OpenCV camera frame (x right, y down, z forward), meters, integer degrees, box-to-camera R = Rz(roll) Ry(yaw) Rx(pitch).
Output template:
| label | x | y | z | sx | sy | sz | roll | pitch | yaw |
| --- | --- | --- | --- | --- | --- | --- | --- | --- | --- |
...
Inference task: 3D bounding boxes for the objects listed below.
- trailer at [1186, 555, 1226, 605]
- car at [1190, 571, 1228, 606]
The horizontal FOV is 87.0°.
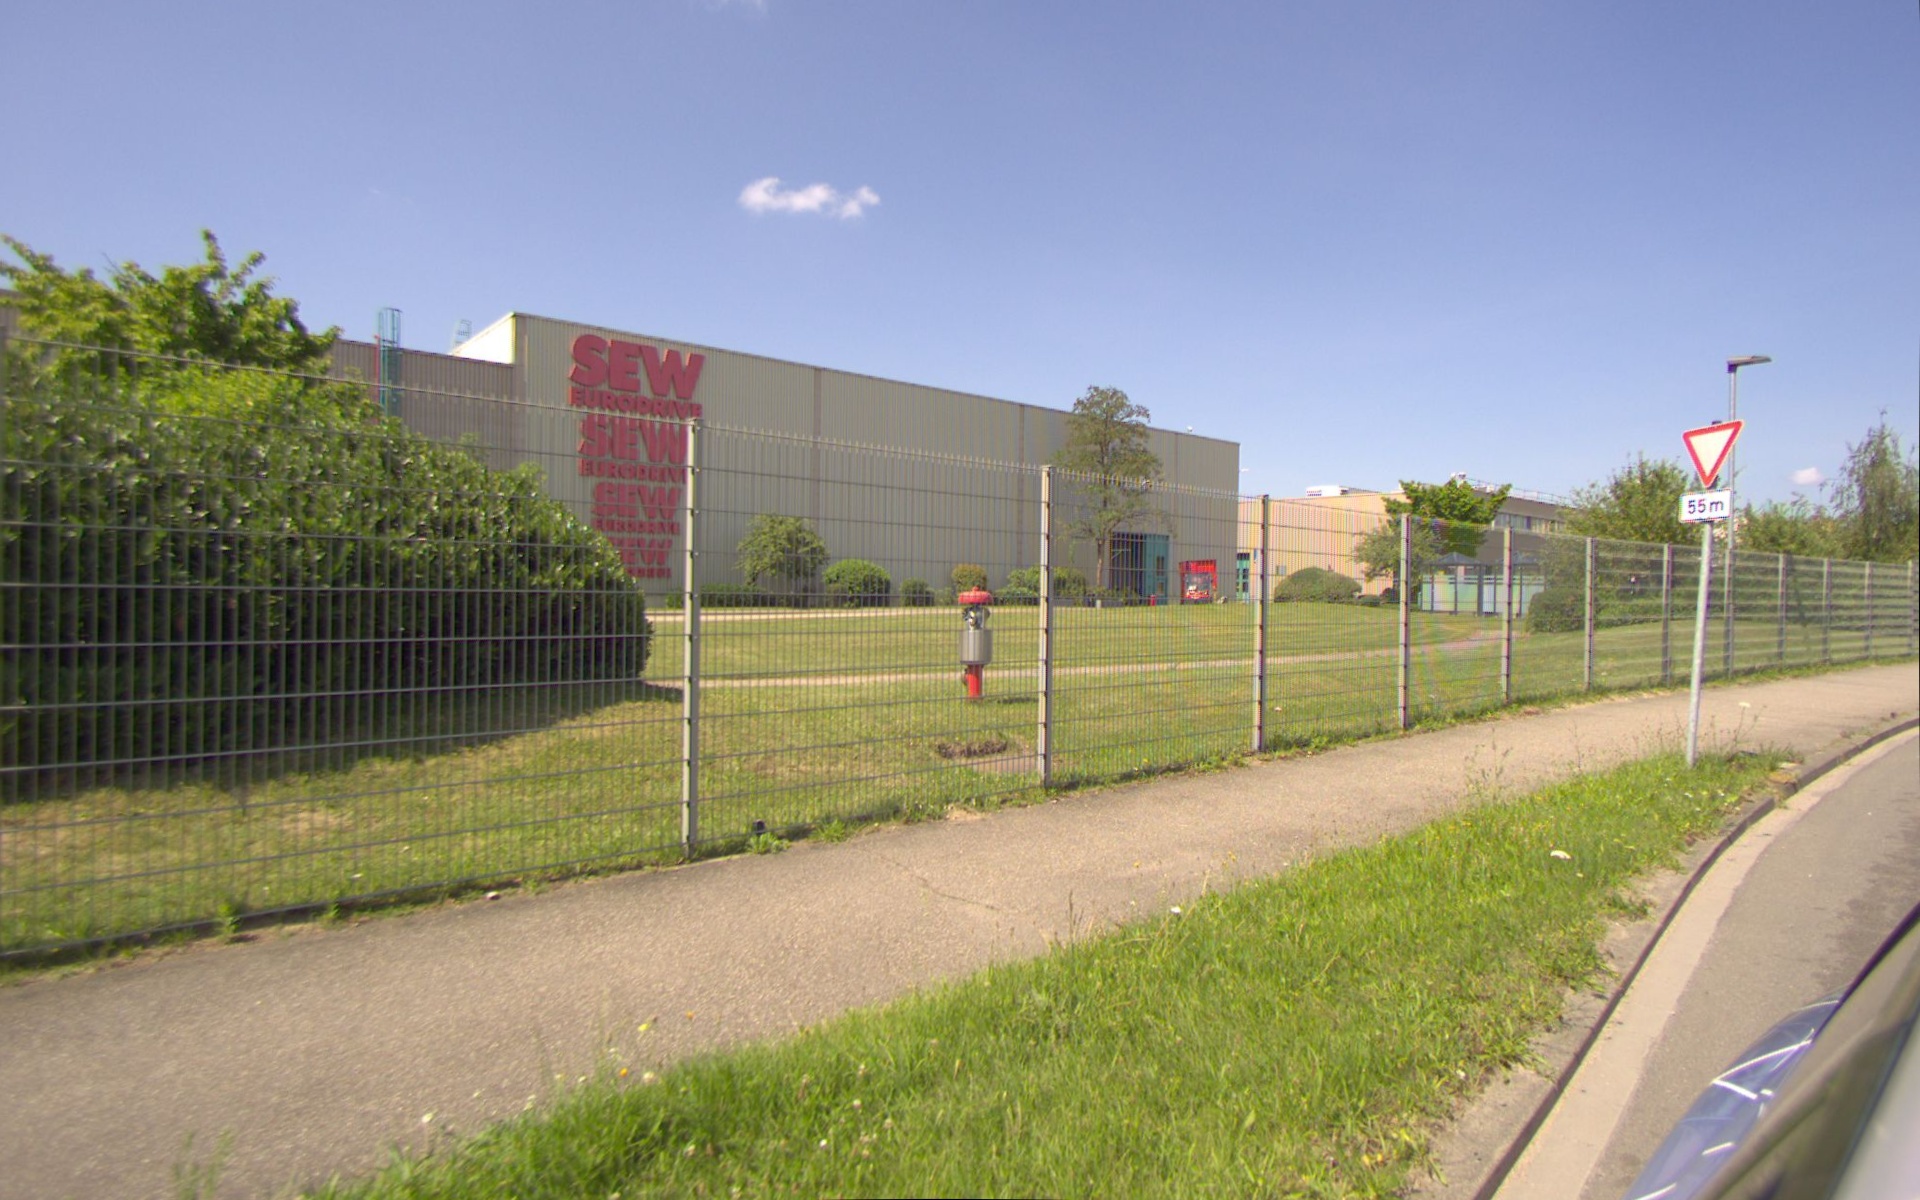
| label | x | y | z | sx | sy | sz | roll | pitch | yaw |
| --- | --- | --- | --- | --- | --- | --- | --- | --- | --- |
| trailer | 14.557 | -1.185 | 60.035 | 1.968 | 2.755 | 5.969 | 1 | 1 | 11 |
| car | 13.563 | -0.658 | 55.178 | 1.873 | 1.838 | 3.983 | 1 | 1 | 14 |
